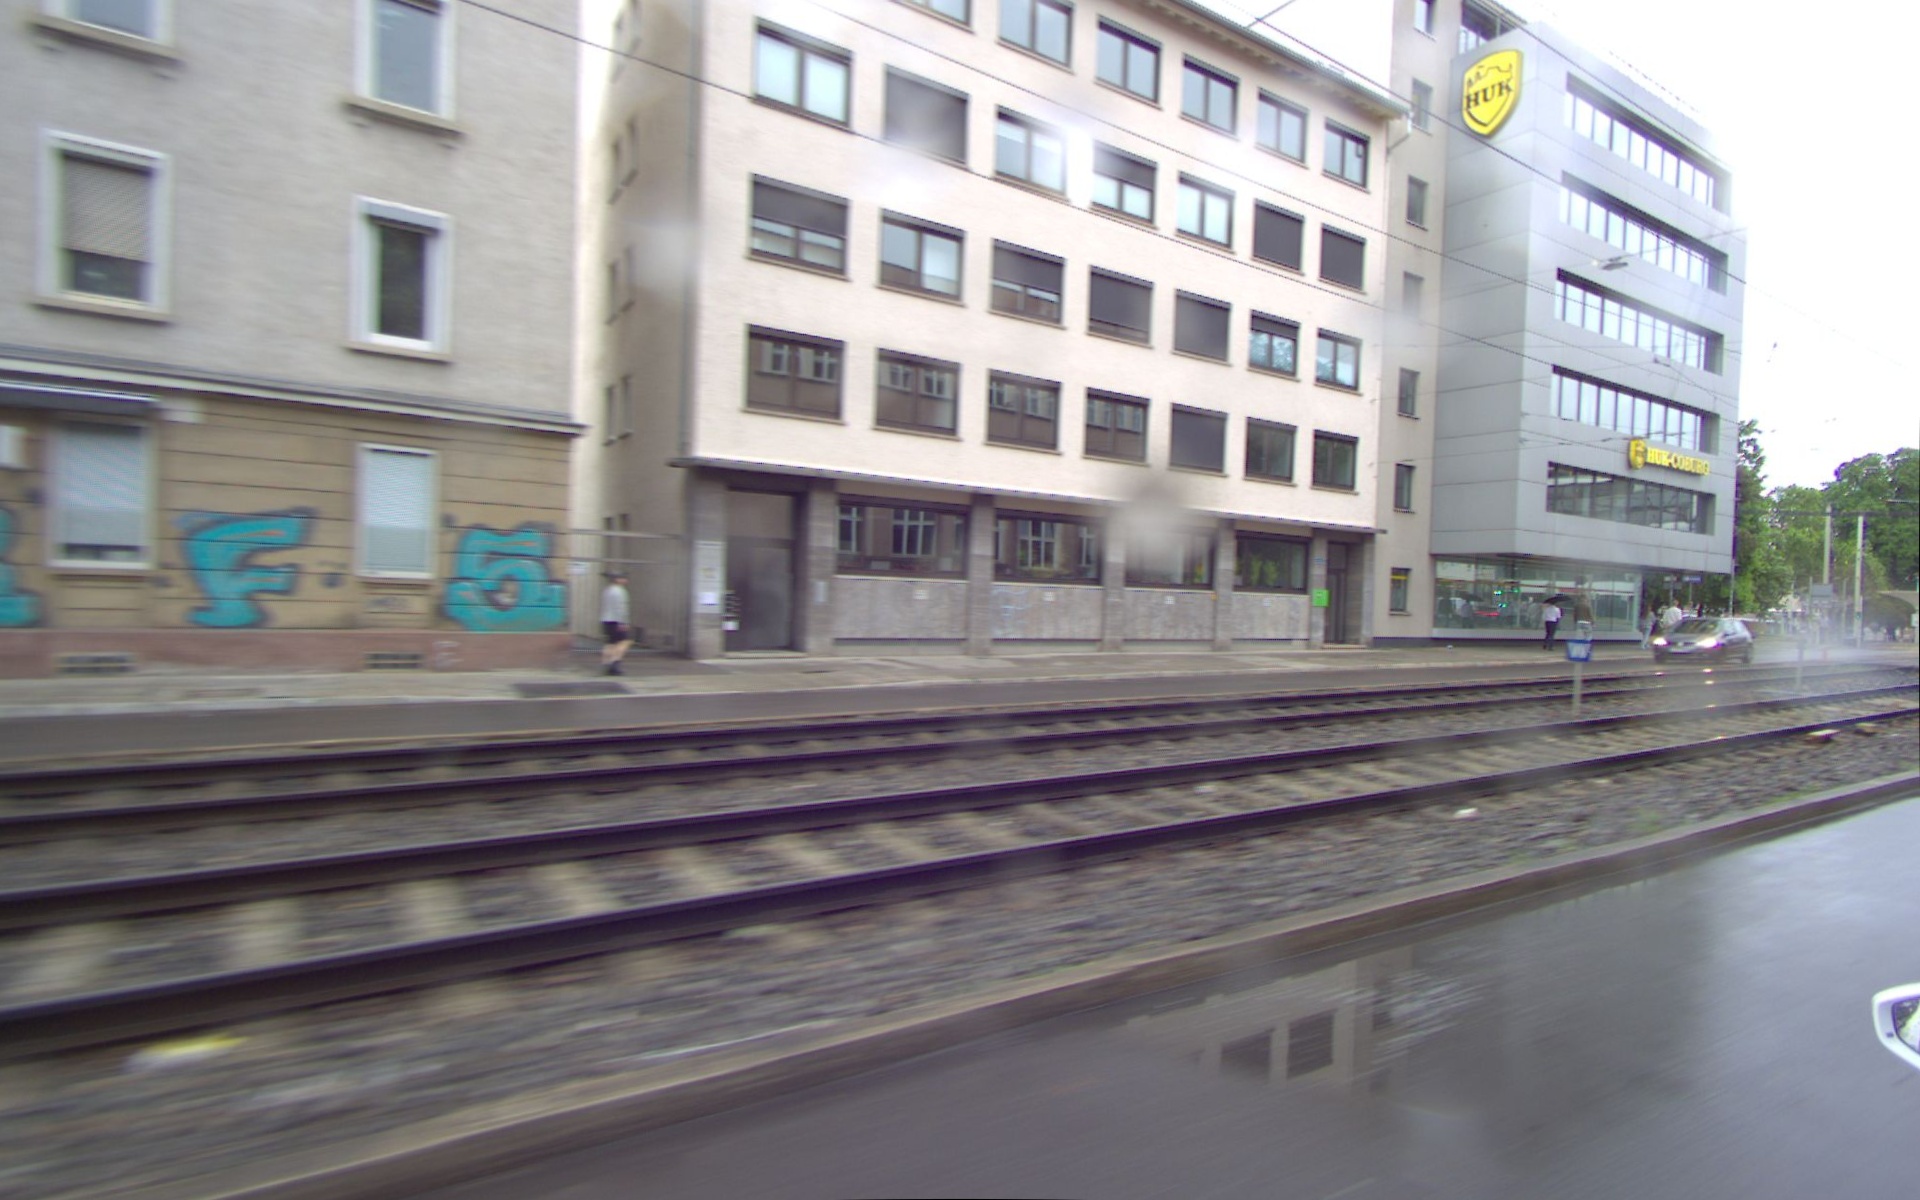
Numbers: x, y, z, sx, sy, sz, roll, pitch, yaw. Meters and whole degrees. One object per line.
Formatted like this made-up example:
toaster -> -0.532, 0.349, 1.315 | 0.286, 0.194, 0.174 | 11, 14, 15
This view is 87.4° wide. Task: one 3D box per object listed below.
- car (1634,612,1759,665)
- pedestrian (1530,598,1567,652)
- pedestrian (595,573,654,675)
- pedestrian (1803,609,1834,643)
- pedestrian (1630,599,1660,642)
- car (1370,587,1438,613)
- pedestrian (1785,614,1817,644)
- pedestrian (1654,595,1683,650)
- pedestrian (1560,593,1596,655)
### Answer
car -> 22.913, 1.195, 31.199 | 4.308, 1.556, 1.926 | 1, -3, -37
pedestrian -> 20.642, 0.883, 35.222 | 0.963, 1.840, 0.657 | 1, 2, -33
pedestrian -> -5.590, 0.392, 16.735 | 0.789, 1.634, 0.544 | 1, 3, -31
pedestrian -> 51.188, 1.549, 59.892 | 0.897, 1.888, 1.001 | 2, 2, -12
pedestrian -> 26.400, 0.779, 38.718 | 0.625, 1.615, 0.587 | 2, 2, -16
car -> 26.305, -0.003, 59.490 | 3.478, 1.467, 1.699 | 0, -1, 32
pedestrian -> 48.380, 1.670, 57.814 | 0.899, 1.615, 0.999 | 2, 2, -17
pedestrian -> 26.820, 0.843, 38.033 | 0.650, 2.041, 0.617 | 3, 2, 19
pedestrian -> 21.161, 0.819, 34.406 | 0.802, 2.041, 0.657 | 1, 2, -33
